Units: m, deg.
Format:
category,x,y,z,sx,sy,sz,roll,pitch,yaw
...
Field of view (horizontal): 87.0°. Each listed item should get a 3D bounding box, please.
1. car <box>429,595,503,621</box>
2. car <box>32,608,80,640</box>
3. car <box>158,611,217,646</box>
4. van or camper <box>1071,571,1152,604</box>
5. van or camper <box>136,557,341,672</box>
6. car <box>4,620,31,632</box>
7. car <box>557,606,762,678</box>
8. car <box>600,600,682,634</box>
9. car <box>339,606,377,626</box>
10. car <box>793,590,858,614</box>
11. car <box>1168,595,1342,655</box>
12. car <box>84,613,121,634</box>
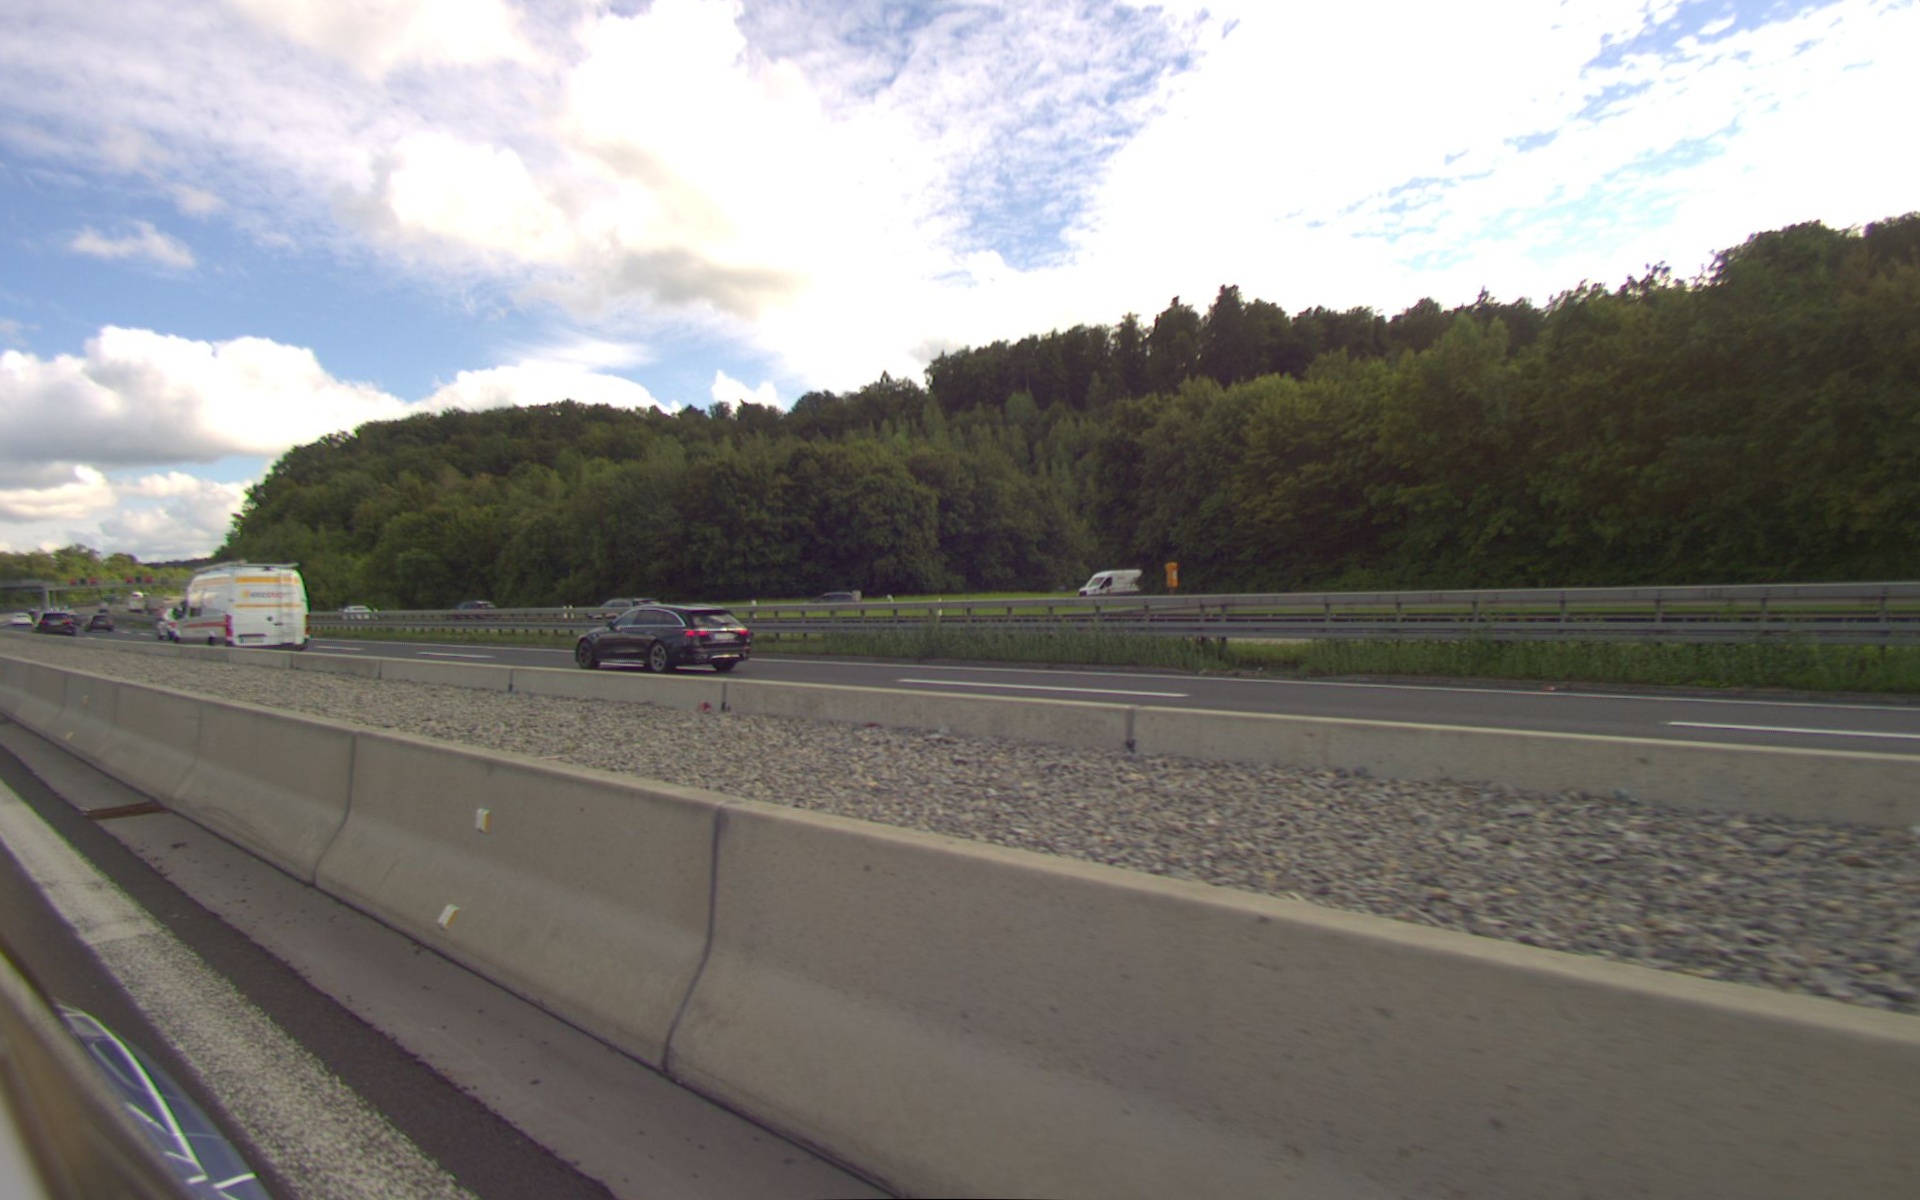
category,x,y,z,sx,sy,sz,roll,pitch,yaw
car,-37.016,0.584,75.878,5.219,1.784,2.379,-1,0,28
car,-58.605,1.570,65.571,5.150,1.934,1.971,-1,0,44
car,-43.258,1.578,56.654,4.241,1.828,1.972,-1,0,43
van or camper,11.155,-0.932,74.398,5.634,2.266,2.112,-2,0,-29
van or camper,-21.187,0.389,29.526,7.464,2.938,3.300,-1,0,42
car,-111.070,3.077,119.262,5.609,1.347,2.023,-1,0,44
car,-6.856,0.889,22.728,5.232,1.432,1.864,-1,-1,40
car,-13.704,0.724,43.434,3.755,1.330,1.621,-1,1,41
car,-55.559,1.475,93.322,1.913,1.684,5.229,-1,0,-43
car,-9.108,0.145,68.535,4.237,1.461,1.734,-2,0,-7
car,7.196,0.592,24.852,3.755,1.330,1.621,-1,1,41
car,-72.888,1.973,86.026,4.374,1.704,1.971,-1,0,44
